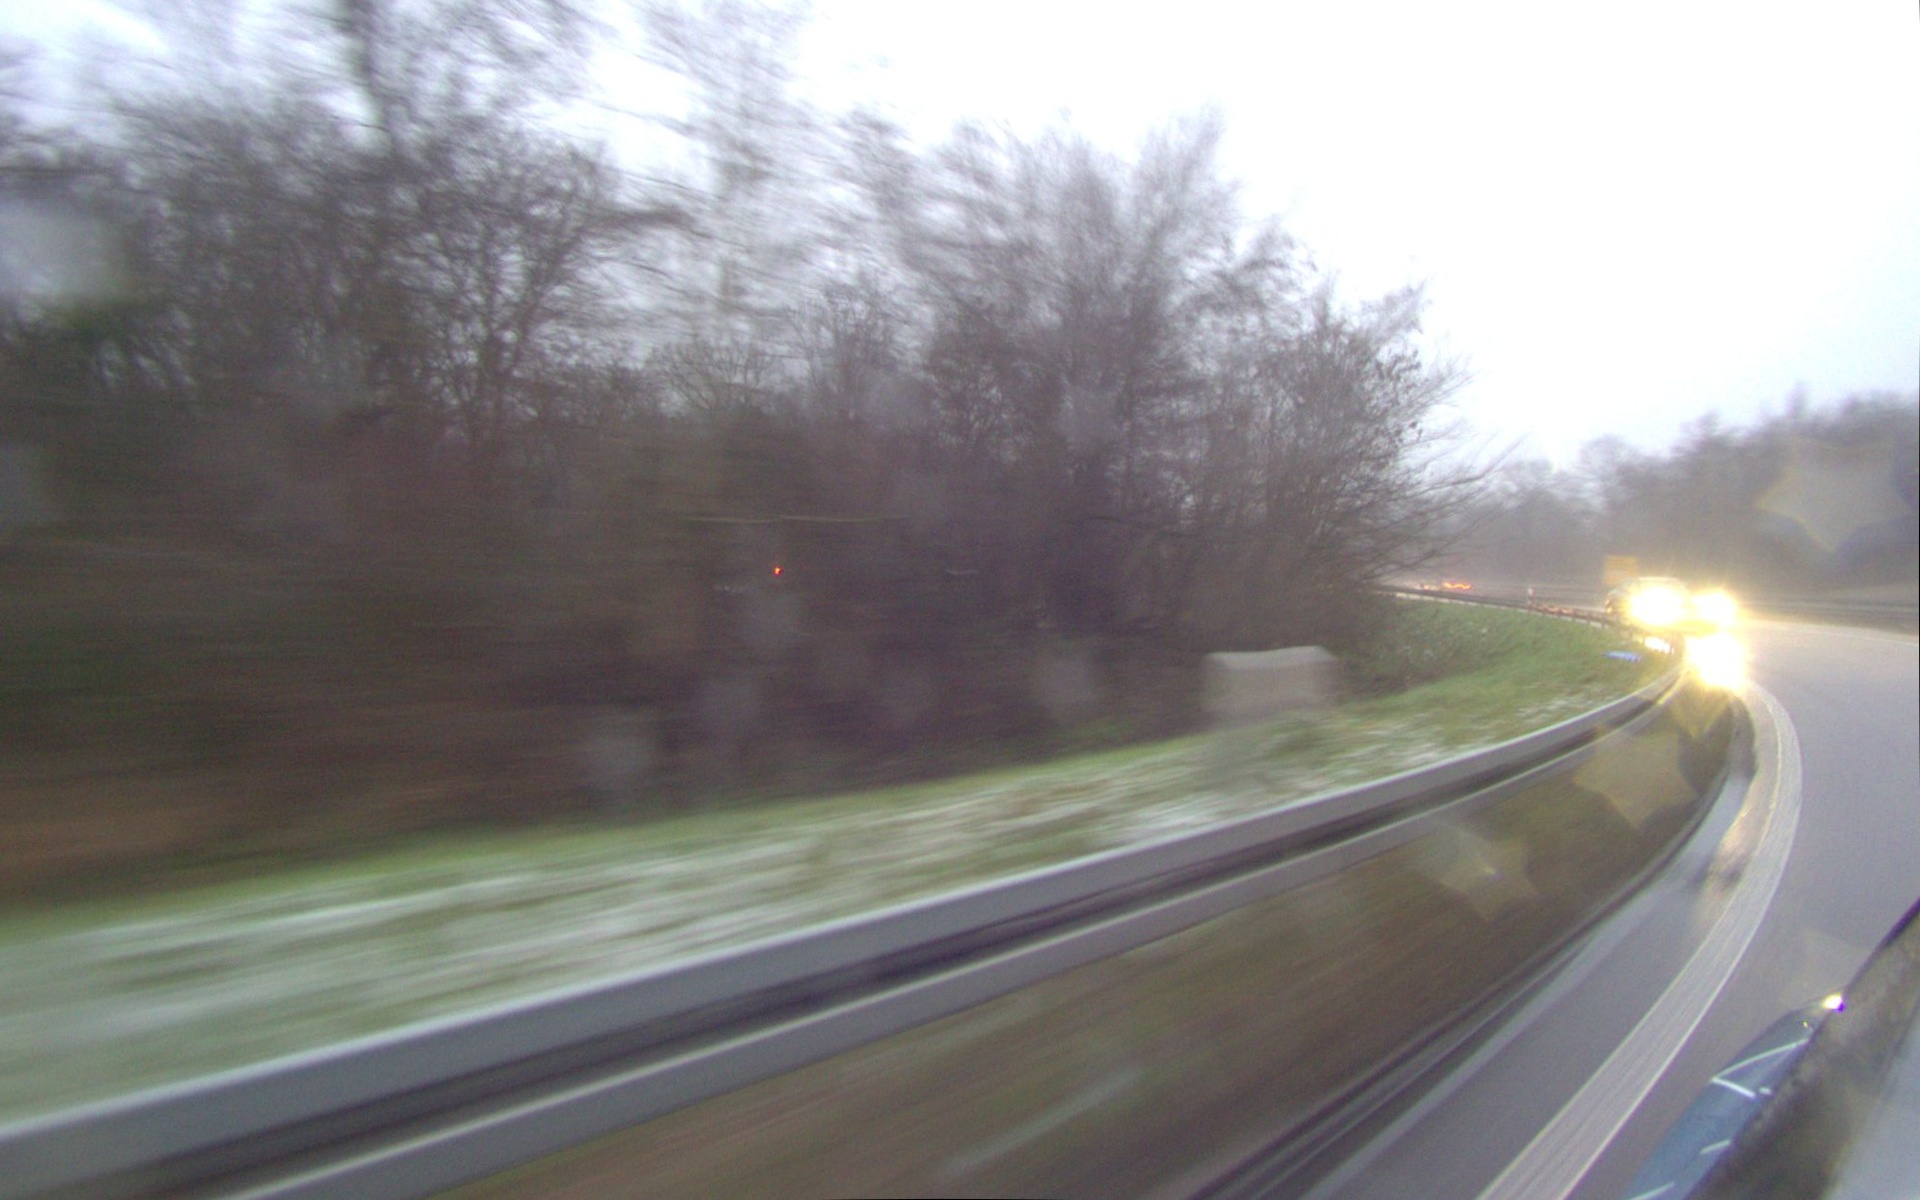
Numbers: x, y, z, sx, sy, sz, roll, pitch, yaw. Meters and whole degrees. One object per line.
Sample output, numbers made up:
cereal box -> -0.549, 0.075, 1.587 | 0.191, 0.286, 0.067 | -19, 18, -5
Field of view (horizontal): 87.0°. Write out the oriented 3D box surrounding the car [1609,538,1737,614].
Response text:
car -> 21.775, -0.741, 31.106 | 1.975, 2.038, 3.941 | 5, 2, 18
